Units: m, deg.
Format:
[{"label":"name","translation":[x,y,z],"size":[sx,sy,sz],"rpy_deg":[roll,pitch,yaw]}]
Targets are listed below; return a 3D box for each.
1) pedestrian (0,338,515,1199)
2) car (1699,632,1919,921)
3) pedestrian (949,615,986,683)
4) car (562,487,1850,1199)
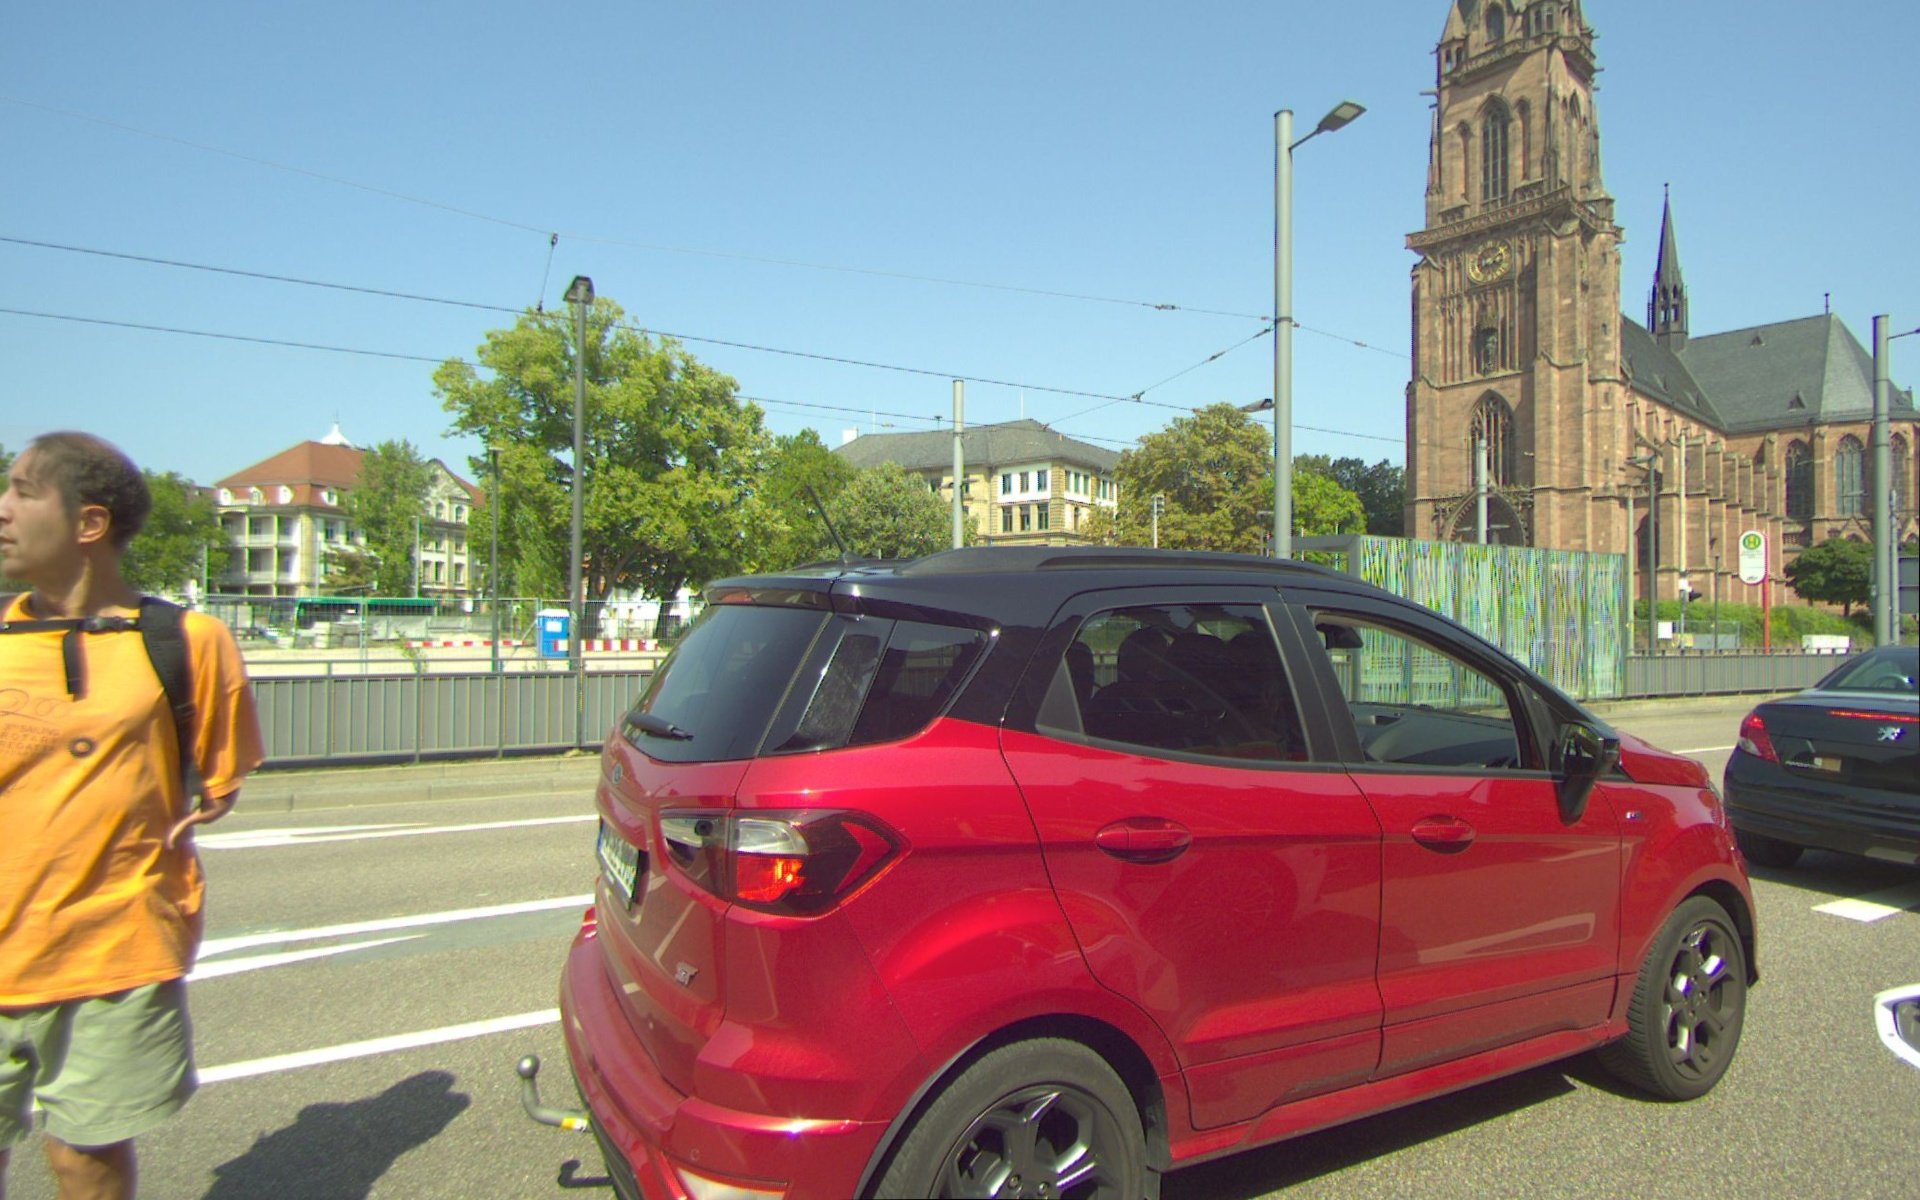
[{"label":"pedestrian","translation":[-1.559,0.550,1.803],"size":[1.221,1.764,0.962],"rpy_deg":[1,0,42]},{"label":"car","translation":[6.428,0.946,6.148],"size":[3.755,1.432,1.681],"rpy_deg":[1,0,-29]},{"label":"pedestrian","translation":[0.203,1.322,27.262],"size":[0.752,1.811,0.740],"rpy_deg":[1,-1,-28]},{"label":"car","translation":[0.915,0.684,3.213],"size":[3.918,1.642,1.623],"rpy_deg":[1,0,-28]}]
